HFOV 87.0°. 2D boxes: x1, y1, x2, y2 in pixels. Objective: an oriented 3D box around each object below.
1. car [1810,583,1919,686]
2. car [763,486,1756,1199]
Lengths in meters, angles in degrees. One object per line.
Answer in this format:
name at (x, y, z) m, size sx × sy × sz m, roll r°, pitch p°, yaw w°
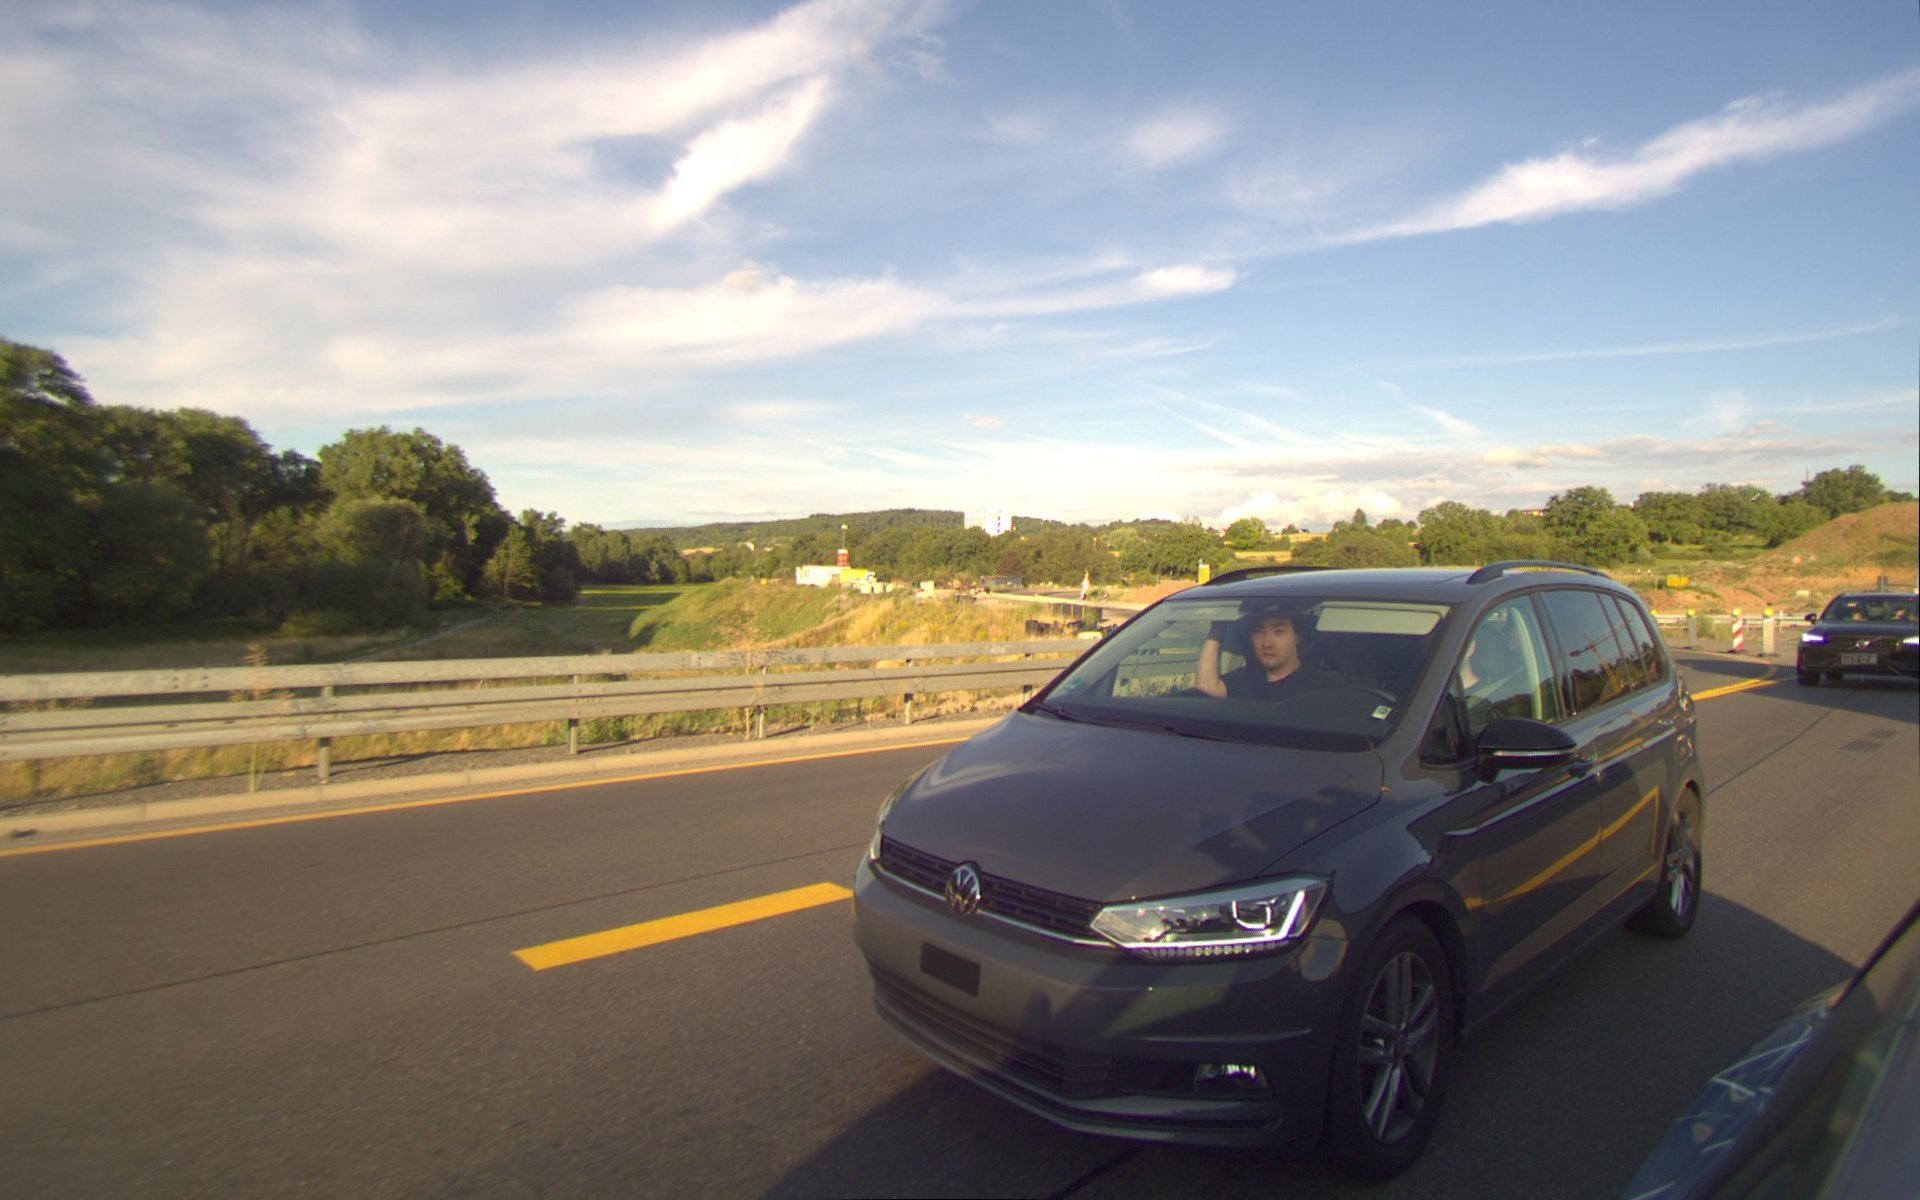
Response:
car at (17.602, 0.577, 19.014) m, size 4.804 × 1.735 × 1.900 m, roll 0°, pitch 0°, yaw -42°
car at (1.615, 0.584, 4.129) m, size 4.449 × 1.636 × 1.815 m, roll -1°, pitch -1°, yaw -42°
